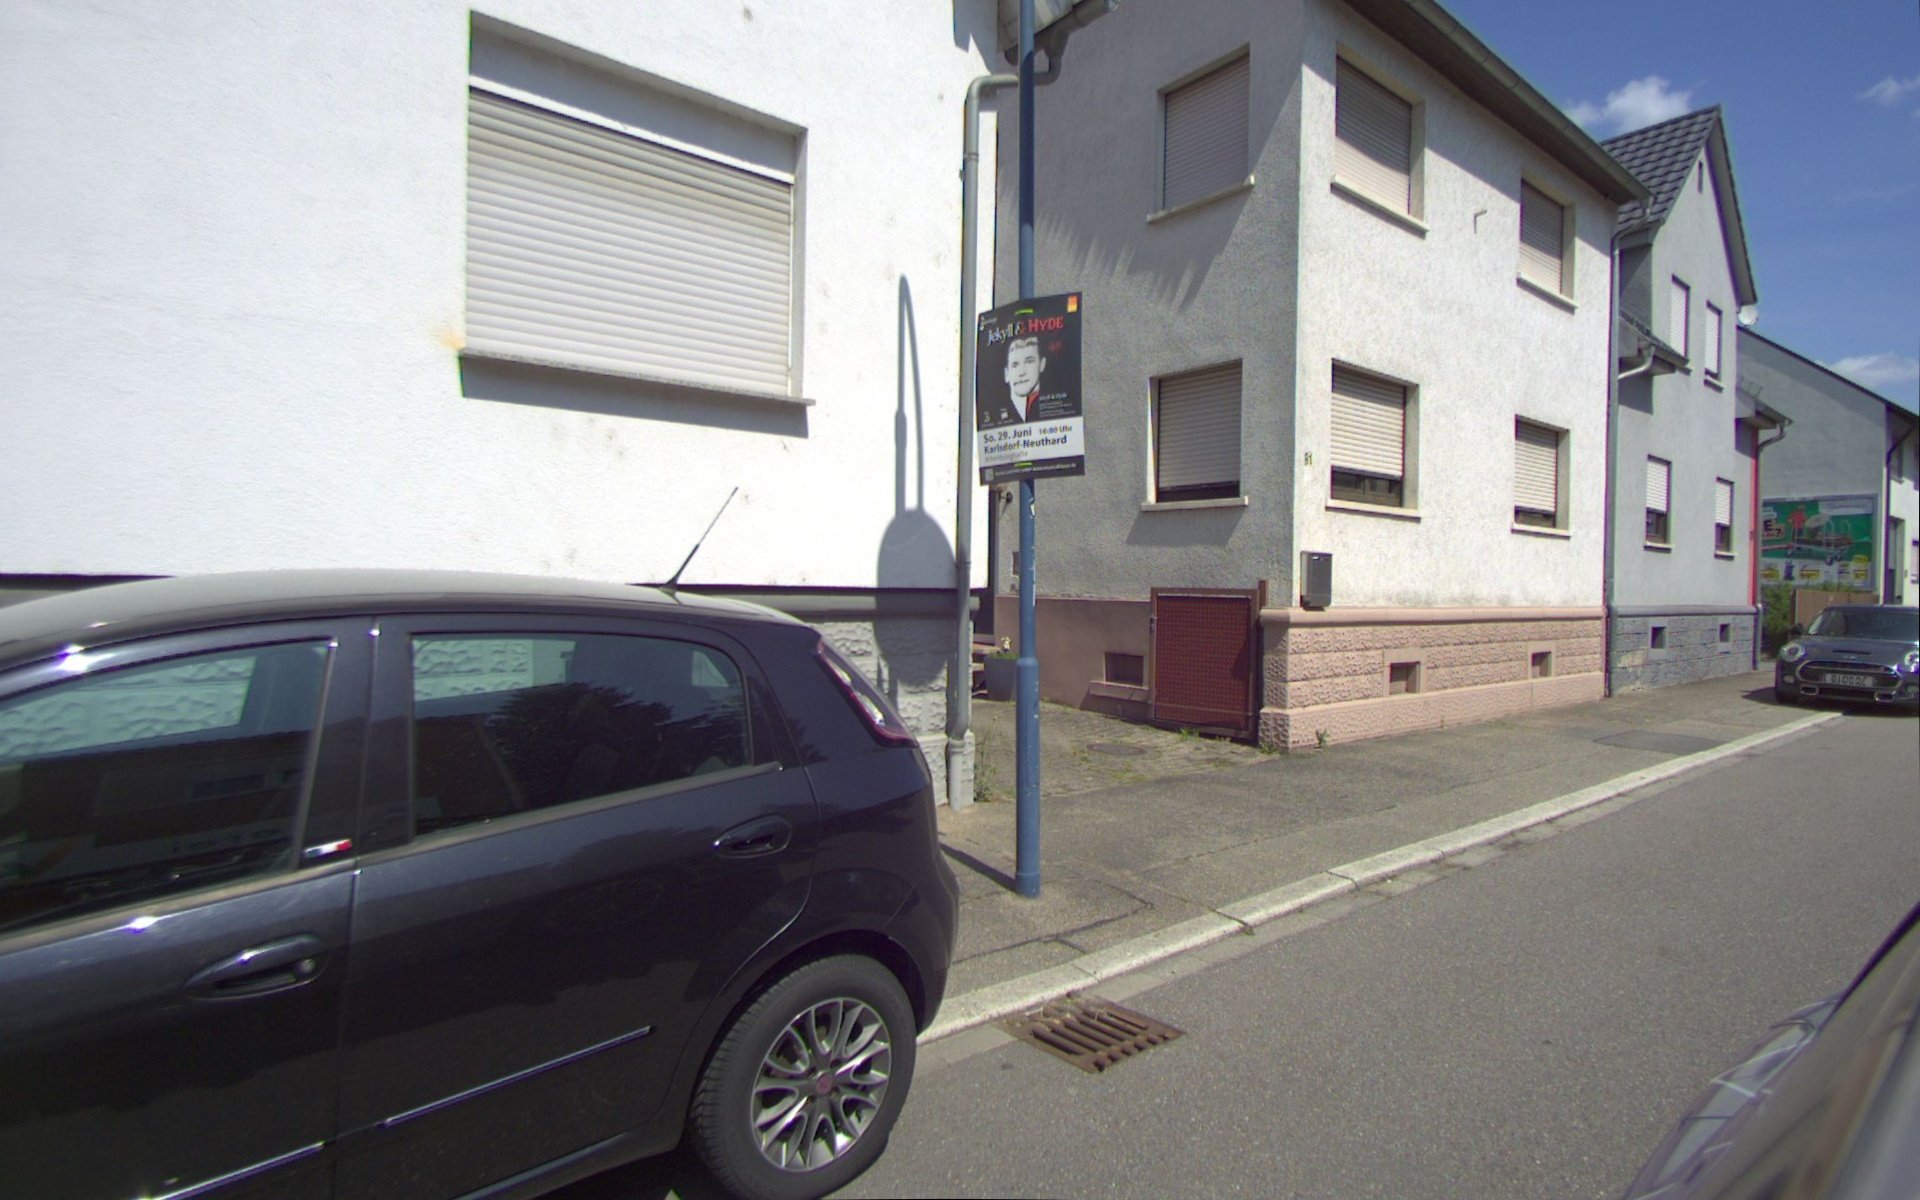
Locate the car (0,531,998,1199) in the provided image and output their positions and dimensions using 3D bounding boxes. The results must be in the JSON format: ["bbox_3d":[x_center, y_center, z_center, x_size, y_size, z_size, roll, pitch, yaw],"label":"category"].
[{"bbox_3d":[-1.929,0.631,2.099,3.901,1.514,1.621,0,4,-40],"label":"car"}]

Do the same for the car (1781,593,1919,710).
[{"bbox_3d":[13.112,0.645,14.297,3.591,1.440,1.692,0,1,-40],"label":"car"}]
